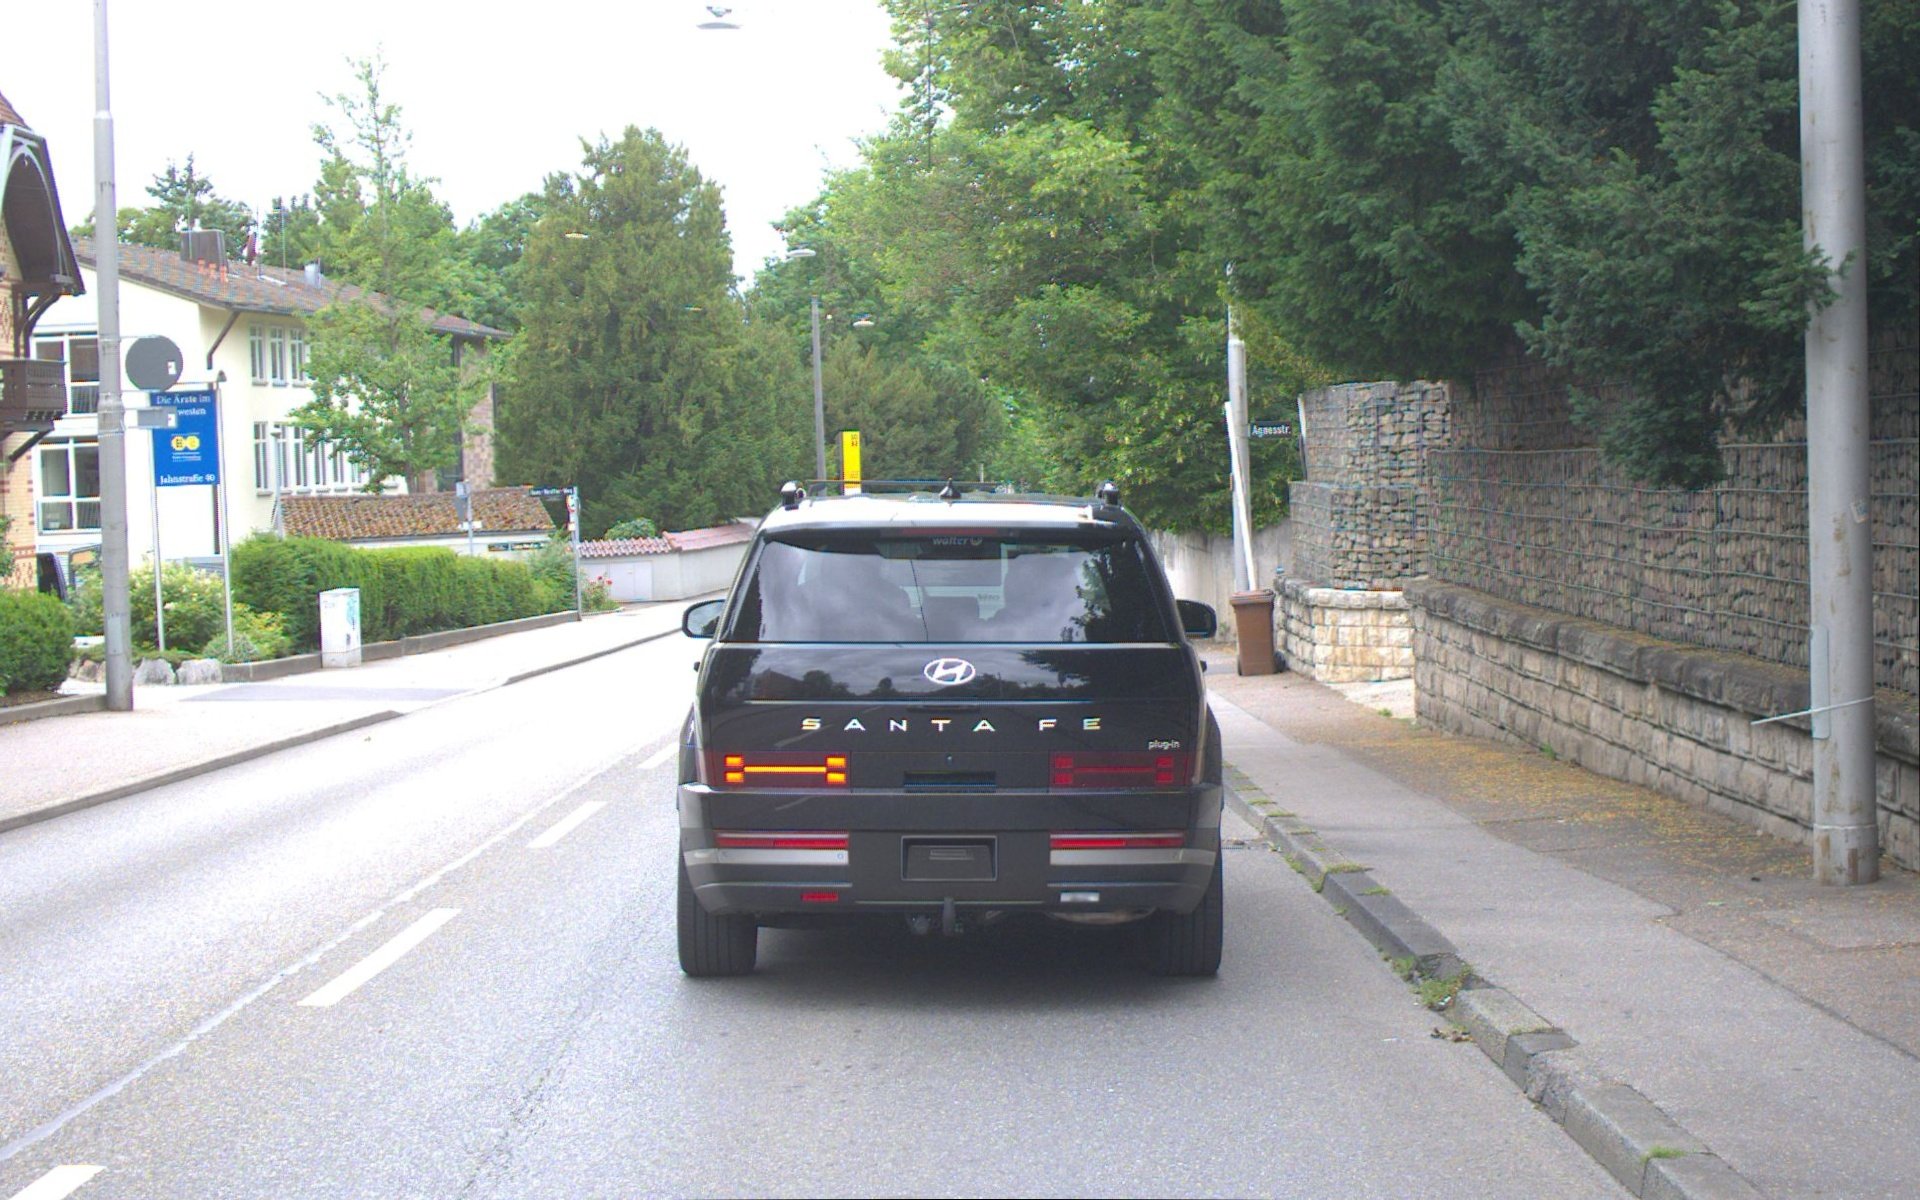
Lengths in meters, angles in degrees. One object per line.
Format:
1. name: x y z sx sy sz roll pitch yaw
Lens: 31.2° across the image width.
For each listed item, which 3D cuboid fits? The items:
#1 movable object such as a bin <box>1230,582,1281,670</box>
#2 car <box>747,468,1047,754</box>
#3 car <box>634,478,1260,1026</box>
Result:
1. movable object such as a bin: 3.187 0.283 37.104 0.445 0.907 0.394 -5 0 9
2. car: -0.567 0.013 25.919 1.957 1.949 4.224 1 2 -5
3. car: -0.031 0.433 13.034 1.957 1.707 4.223 1 1 0
